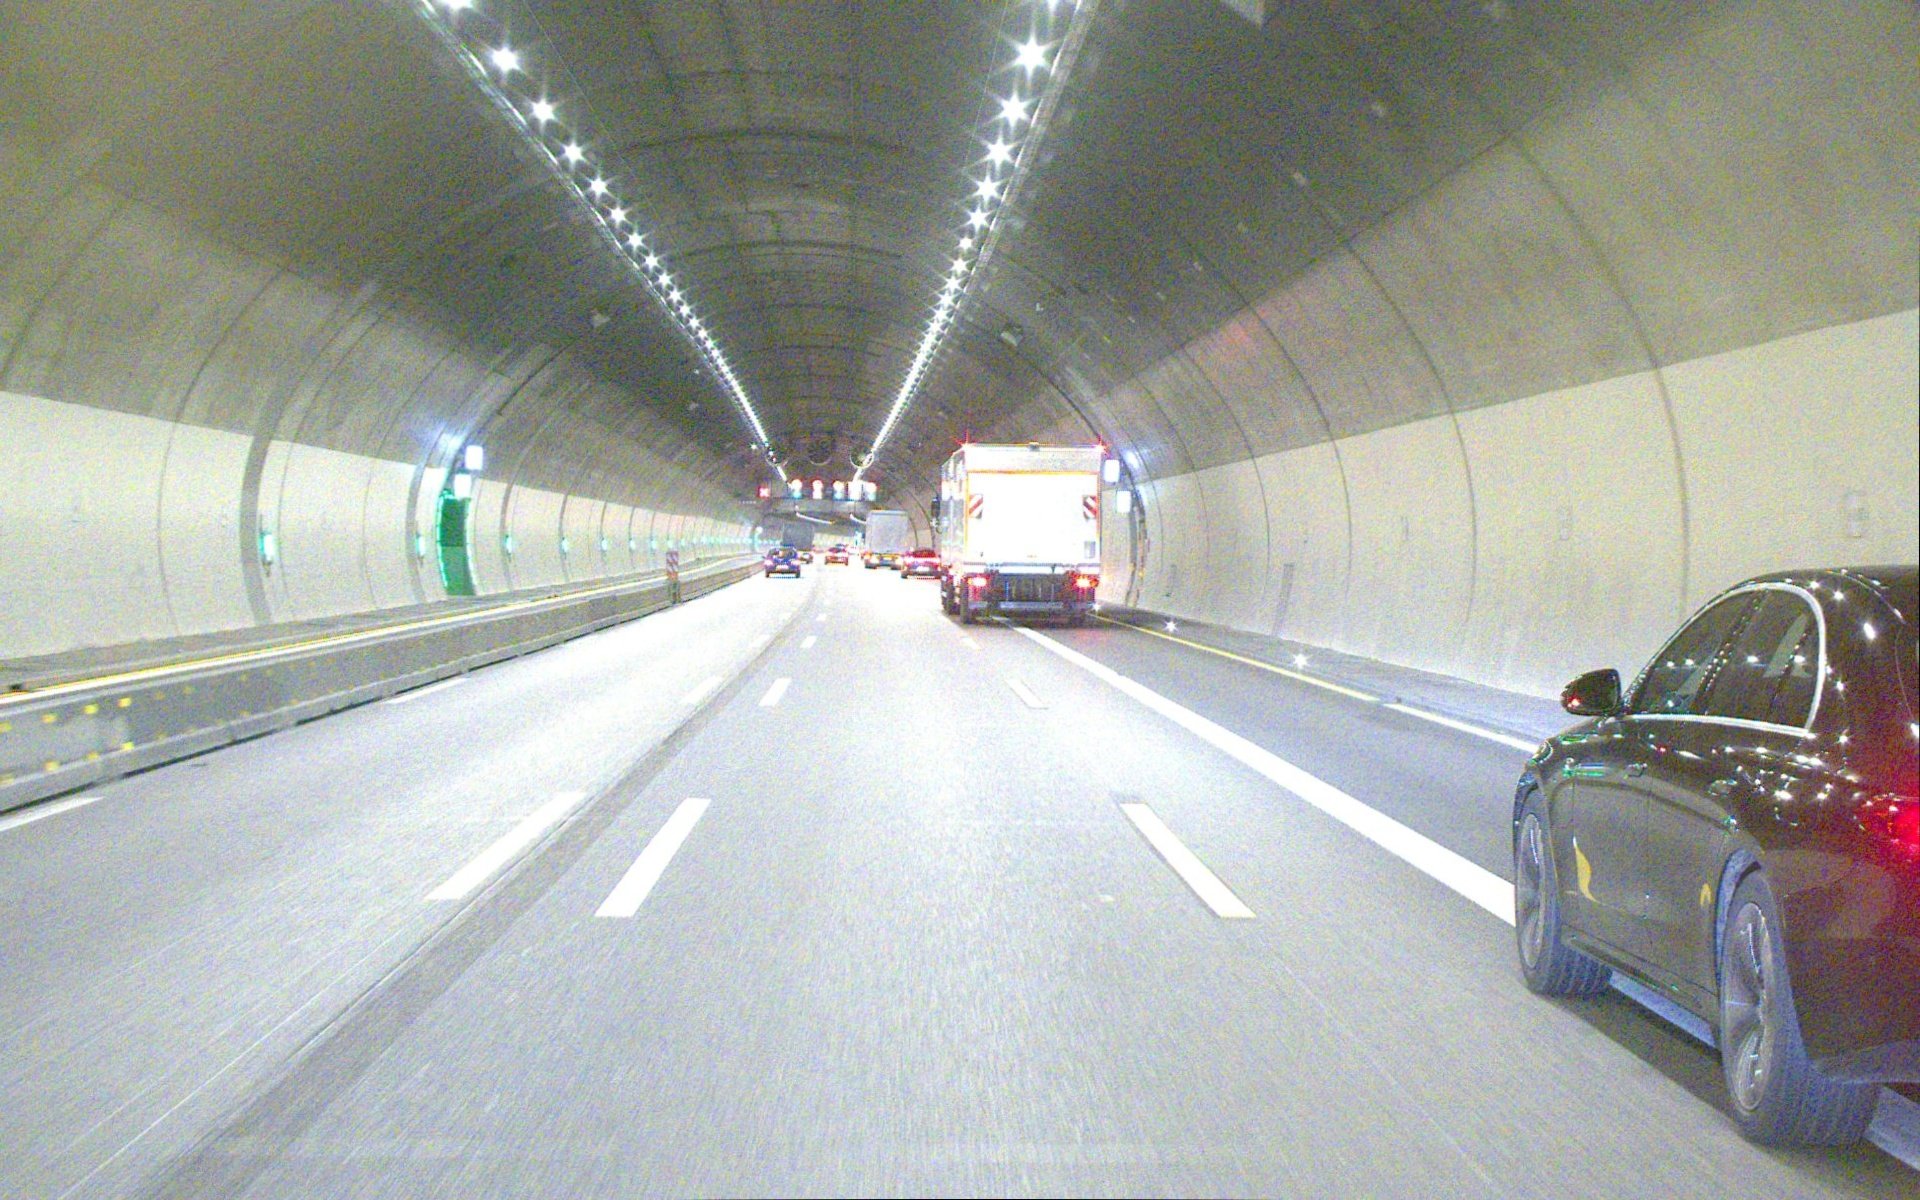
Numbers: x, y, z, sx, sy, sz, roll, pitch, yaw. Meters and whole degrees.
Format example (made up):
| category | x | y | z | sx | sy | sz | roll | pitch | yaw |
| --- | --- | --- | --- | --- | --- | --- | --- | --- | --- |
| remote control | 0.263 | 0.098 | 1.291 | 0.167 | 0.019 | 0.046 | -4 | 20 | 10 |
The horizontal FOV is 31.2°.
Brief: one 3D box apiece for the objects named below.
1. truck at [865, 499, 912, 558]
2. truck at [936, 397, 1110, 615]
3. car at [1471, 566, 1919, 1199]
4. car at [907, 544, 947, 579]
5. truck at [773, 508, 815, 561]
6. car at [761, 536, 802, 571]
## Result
| category | x | y | z | sx | sy | sz | roll | pitch | yaw |
| --- | --- | --- | --- | --- | --- | --- | --- | --- | --- |
| truck | -4.869 | -4.901 | 237.195 | 3.066 | 3.904 | 10.368 | 1 | 0 | -1 |
| truck | 1.151 | -1.759 | 67.804 | 3.092 | 3.904 | 10.368 | 1 | 0 | 0 |
| car | 2.832 | 0.671 | 9.821 | 1.925 | 1.467 | 4.955 | 1 | 1 | -1 |
| car | -1.503 | -1.763 | 155.907 | 1.739 | 1.456 | 3.961 | 1 | 2 | -1 |
| truck | -12.670 | -4.956 | 263.448 | 3.066 | 3.904 | 10.369 | 1 | 0 | -2 |
| car | -7.991 | -2.093 | 154.195 | 1.758 | 1.456 | 4.119 | 1 | 2 | -2 |
